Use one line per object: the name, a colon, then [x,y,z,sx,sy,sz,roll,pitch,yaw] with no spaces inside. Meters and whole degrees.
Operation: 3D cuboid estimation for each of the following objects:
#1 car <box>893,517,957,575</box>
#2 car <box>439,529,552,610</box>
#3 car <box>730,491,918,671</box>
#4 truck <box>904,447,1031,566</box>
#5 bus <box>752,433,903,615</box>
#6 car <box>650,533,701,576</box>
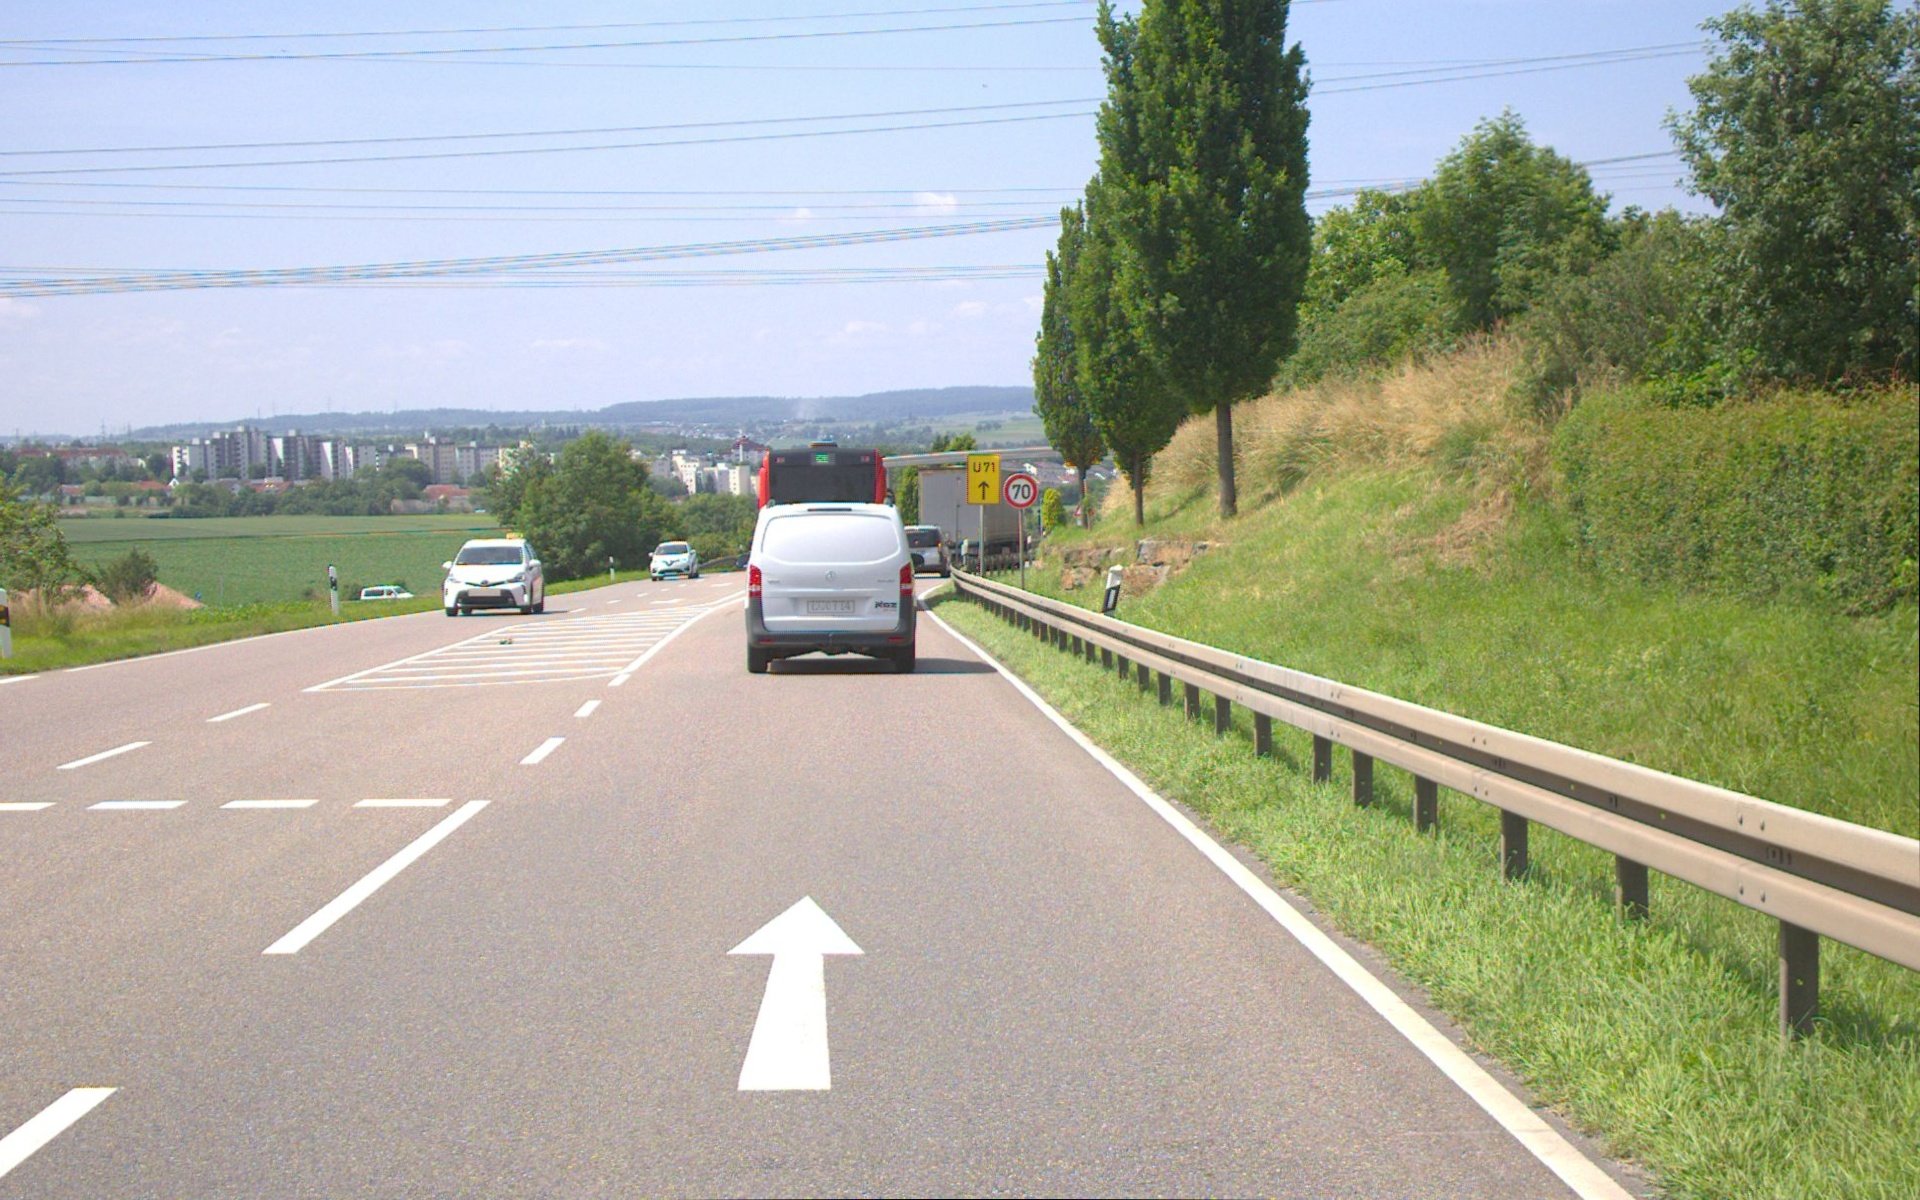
car: [-1.156,-1.825,115.654,1.885,1.810,3.764,-2,2,3]
car: [-9.737,-0.665,72.298,1.853,1.560,4.075,-2,1,-1]
car: [-1.500,-0.266,39.288,1.923,1.883,4.000,-2,2,0]
truck: [0.423,-3.677,136.357,3.489,4.408,14.900,-1,1,6]
bus: [-2.789,-1.801,73.579,2.747,3.341,13.225,-3,3,-2]
car: [-11.760,-1.900,142.324,1.766,1.681,3.826,-2,1,0]
